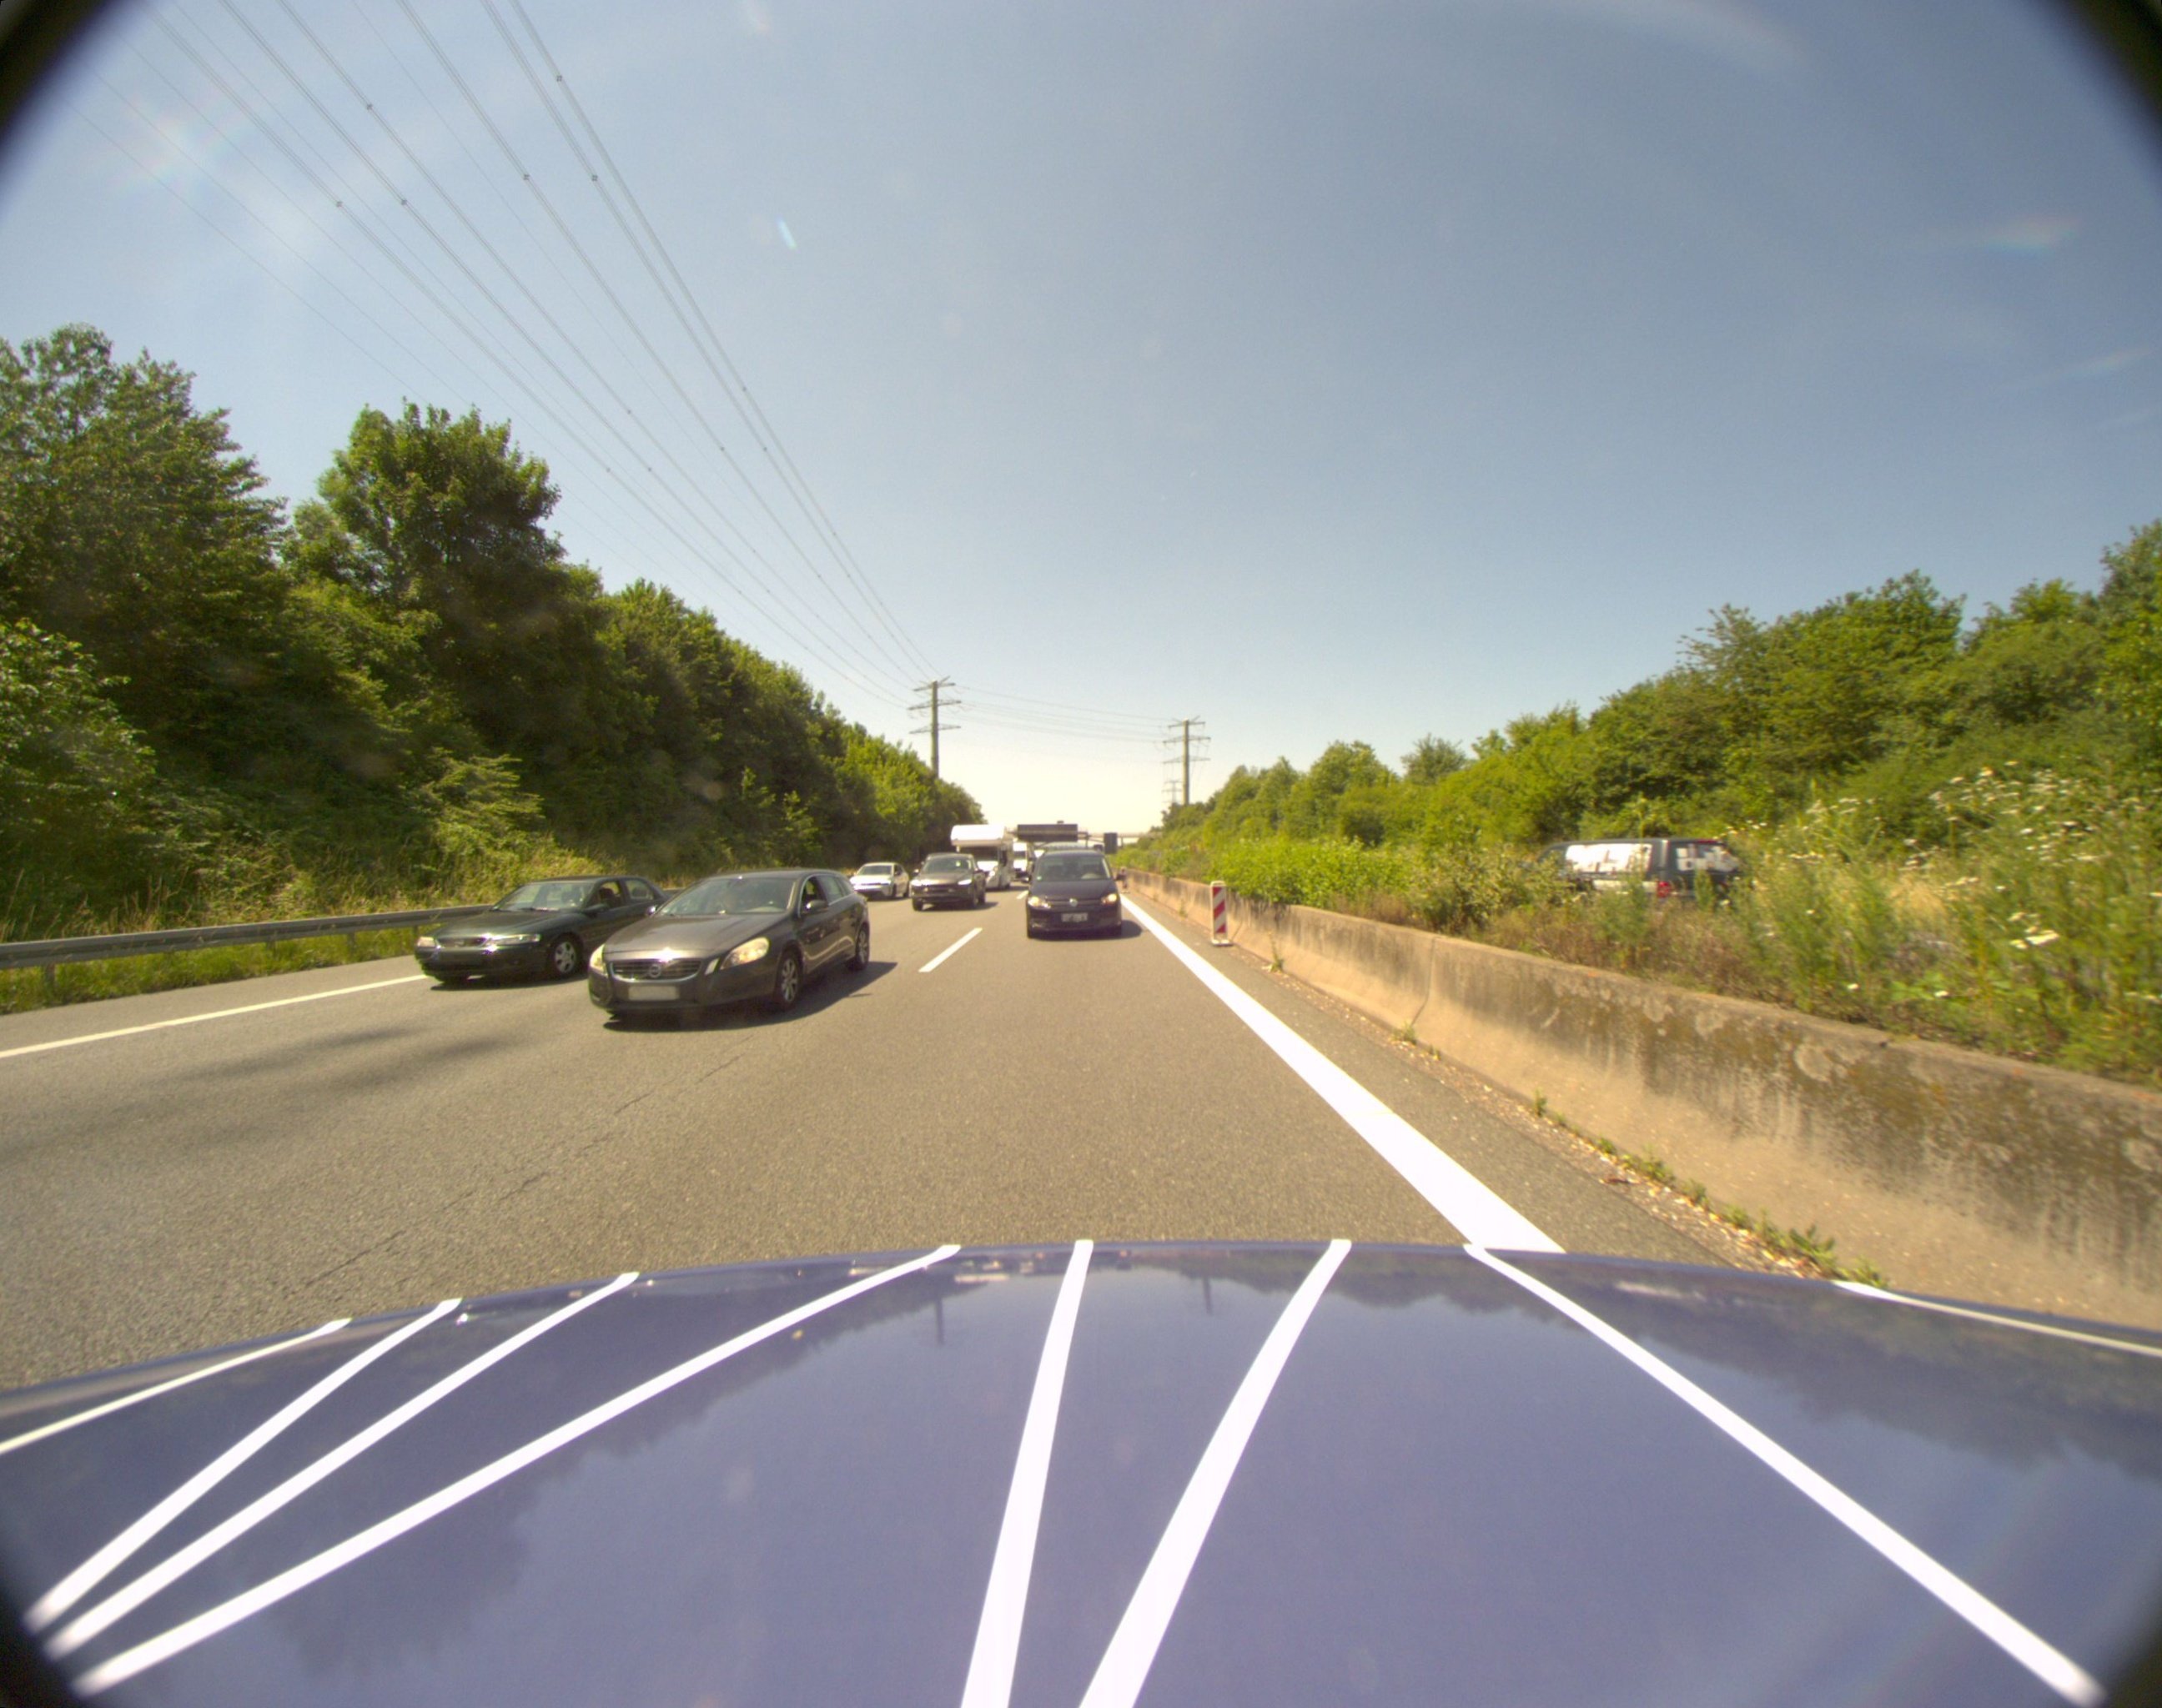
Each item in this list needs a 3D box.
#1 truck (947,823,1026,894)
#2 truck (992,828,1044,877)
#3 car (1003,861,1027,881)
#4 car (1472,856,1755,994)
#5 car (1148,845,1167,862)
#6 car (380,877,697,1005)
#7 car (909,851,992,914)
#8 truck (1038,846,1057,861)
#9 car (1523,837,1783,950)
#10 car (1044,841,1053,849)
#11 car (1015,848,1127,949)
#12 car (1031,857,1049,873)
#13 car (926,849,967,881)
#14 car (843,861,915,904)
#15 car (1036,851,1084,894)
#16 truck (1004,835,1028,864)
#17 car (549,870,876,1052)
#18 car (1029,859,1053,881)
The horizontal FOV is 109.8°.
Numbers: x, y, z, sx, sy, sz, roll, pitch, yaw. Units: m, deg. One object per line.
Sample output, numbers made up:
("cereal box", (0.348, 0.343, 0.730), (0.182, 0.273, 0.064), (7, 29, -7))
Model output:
("truck", (-4.470, 0.159, 38.013), (2.514, 2.997, 9.896), (-2, 1, 1))
("truck", (-4.193, -0.152, 52.276), (2.514, 2.997, 9.896), (-2, 1, 1))
("car", (-6.206, 1.605, 71.852), (1.892, 1.693, 4.382), (-2, 1, -2))
("car", (8.021, 0.945, 11.971), (1.653, 1.778, 4.000), (0, 0, 0))
("car", (14.401, -0.125, 143.739), (2.769, 2.856, 7.675), (-2, 1, 0))
("car", (-7.882, 1.150, 11.671), (1.739, 1.370, 4.301), (-2, 1, 0))
("car", (-3.955, 0.787, 23.687), (1.892, 1.693, 4.382), (-2, 1, -2))
("truck", (-5.154, -0.057, 117.655), (2.409, 2.203, 6.743), (-2, 1, 1))
("car", (11.441, 0.690, 15.697), (1.966, 2.002, 4.409), (0, 0, -2))
("car", (-8.403, -2.415, 198.040), (1.998, 2.002, 3.999), (-2, 1, 0))
("car", (-0.233, 0.756, 15.388), (1.892, 1.693, 4.382), (-2, 1, -2))
("car", (-4.624, 1.251, 86.380), (1.892, 1.693, 4.382), (-2, 1, -2))
("car", (-8.734, 0.684, 49.584), (1.788, 1.893, 4.697), (-2, 1, 0))
("car", (-7.880, 1.058, 30.014), (1.745, 1.461, 4.013), (-2, 0, 0))
("car", (-0.926, 0.757, 33.250), (1.892, 1.693, 4.382), (-2, 1, -2))
("truck", (-8.459, -0.646, 99.753), (2.409, 3.557, 9.189), (-2, 1, -1))
("car", (-3.839, 0.996, 8.871), (1.801, 1.429, 4.229), (-2, 1, -2))
("car", (-3.456, 1.385, 65.766), (1.892, 1.693, 4.382), (-2, 1, -2))
